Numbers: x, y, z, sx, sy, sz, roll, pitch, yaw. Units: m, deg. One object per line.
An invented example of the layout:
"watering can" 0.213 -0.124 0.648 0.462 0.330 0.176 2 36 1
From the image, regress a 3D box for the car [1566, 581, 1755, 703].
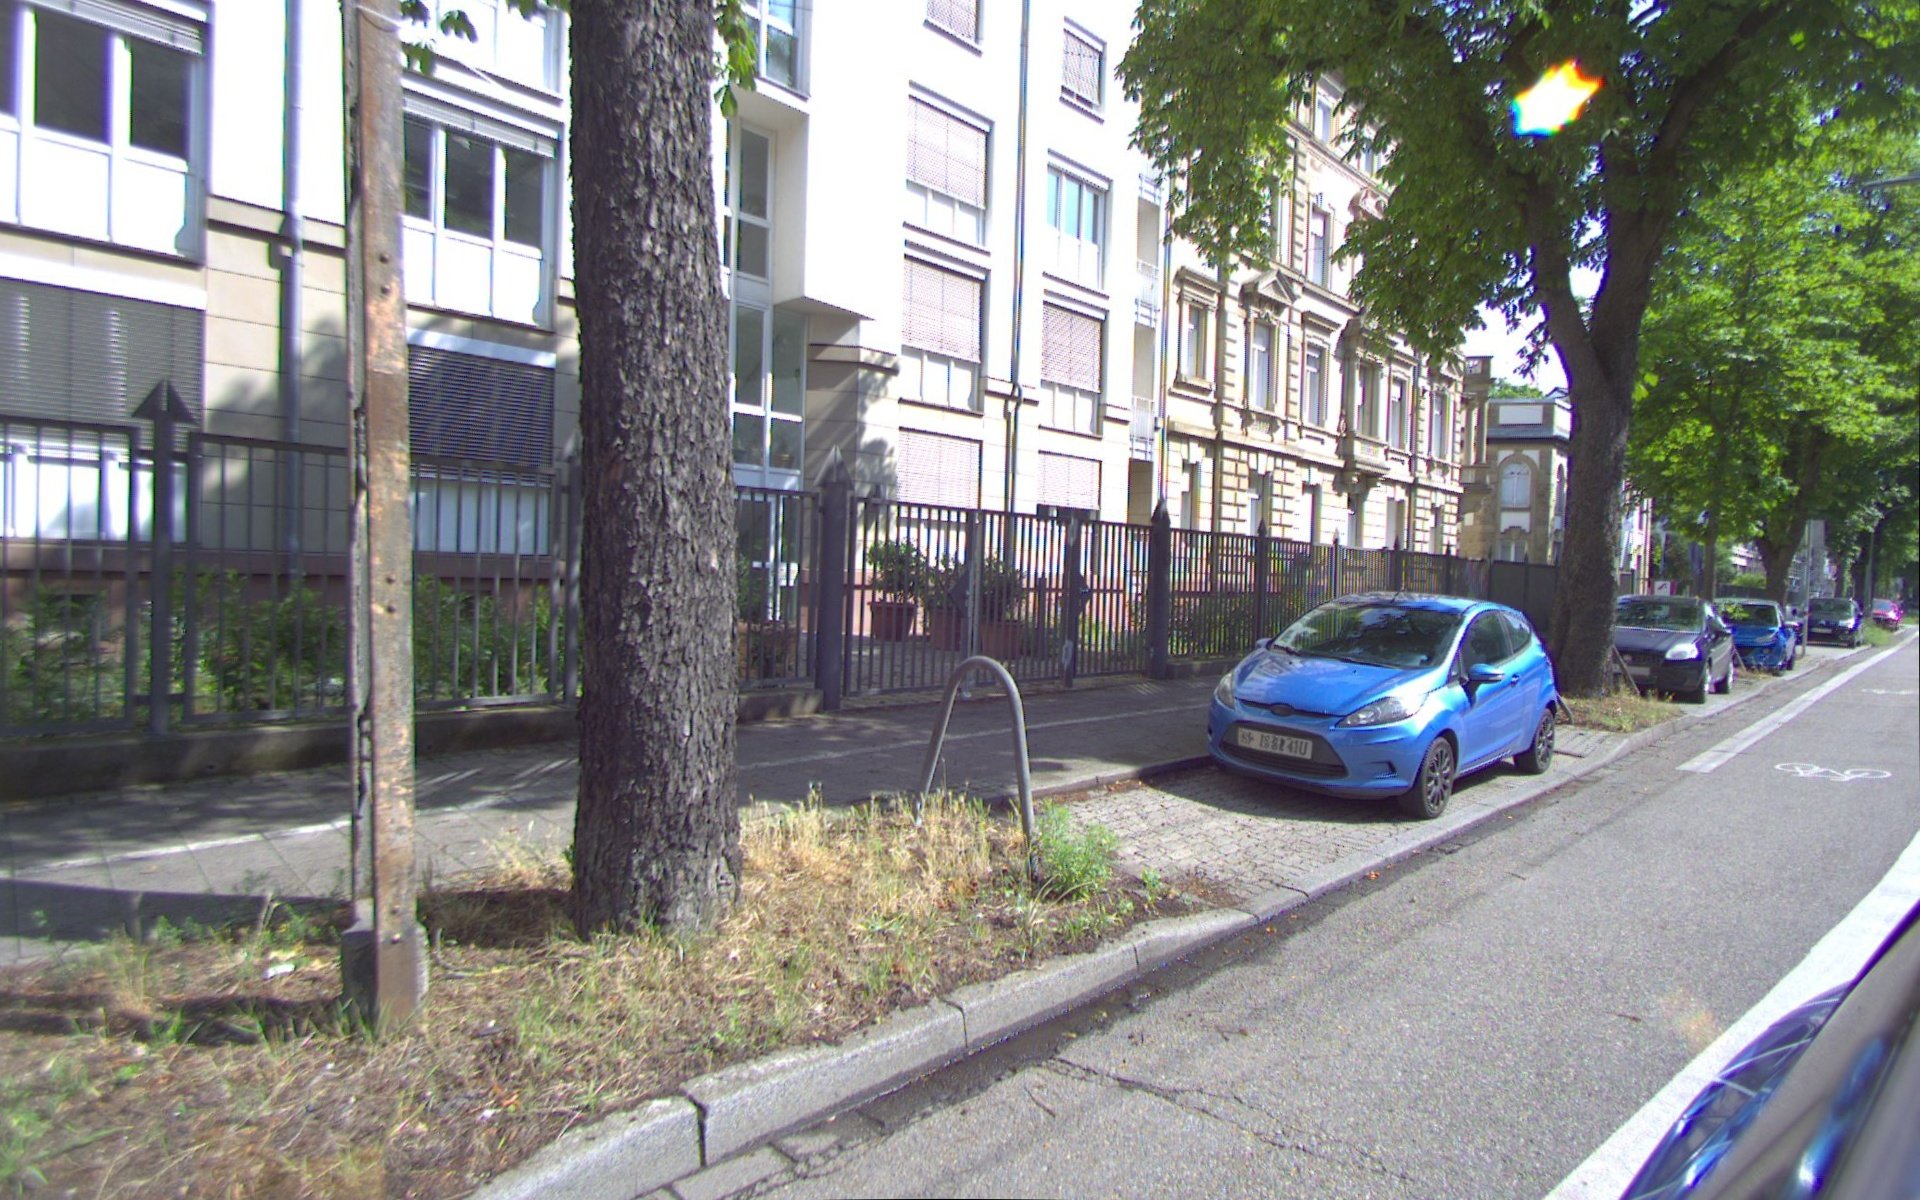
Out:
"car" 10.637 0.546 15.277 1.676 1.493 3.602 7 5 44

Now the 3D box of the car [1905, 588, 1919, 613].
"car" 63.239 0.078 66.282 1.741 1.592 3.867 7 5 44

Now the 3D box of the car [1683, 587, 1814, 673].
"car" 16.385 0.557 20.973 1.676 1.493 3.602 7 5 44

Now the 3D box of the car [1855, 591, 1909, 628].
"car" 45.405 0.431 49.825 1.741 1.592 3.867 7 5 44

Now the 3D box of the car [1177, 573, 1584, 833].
"car" 3.483 0.620 8.073 3.601 1.493 1.644 0 5 -44

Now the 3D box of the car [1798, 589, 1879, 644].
"car" 29.400 0.513 33.838 1.741 1.592 3.602 7 5 44
